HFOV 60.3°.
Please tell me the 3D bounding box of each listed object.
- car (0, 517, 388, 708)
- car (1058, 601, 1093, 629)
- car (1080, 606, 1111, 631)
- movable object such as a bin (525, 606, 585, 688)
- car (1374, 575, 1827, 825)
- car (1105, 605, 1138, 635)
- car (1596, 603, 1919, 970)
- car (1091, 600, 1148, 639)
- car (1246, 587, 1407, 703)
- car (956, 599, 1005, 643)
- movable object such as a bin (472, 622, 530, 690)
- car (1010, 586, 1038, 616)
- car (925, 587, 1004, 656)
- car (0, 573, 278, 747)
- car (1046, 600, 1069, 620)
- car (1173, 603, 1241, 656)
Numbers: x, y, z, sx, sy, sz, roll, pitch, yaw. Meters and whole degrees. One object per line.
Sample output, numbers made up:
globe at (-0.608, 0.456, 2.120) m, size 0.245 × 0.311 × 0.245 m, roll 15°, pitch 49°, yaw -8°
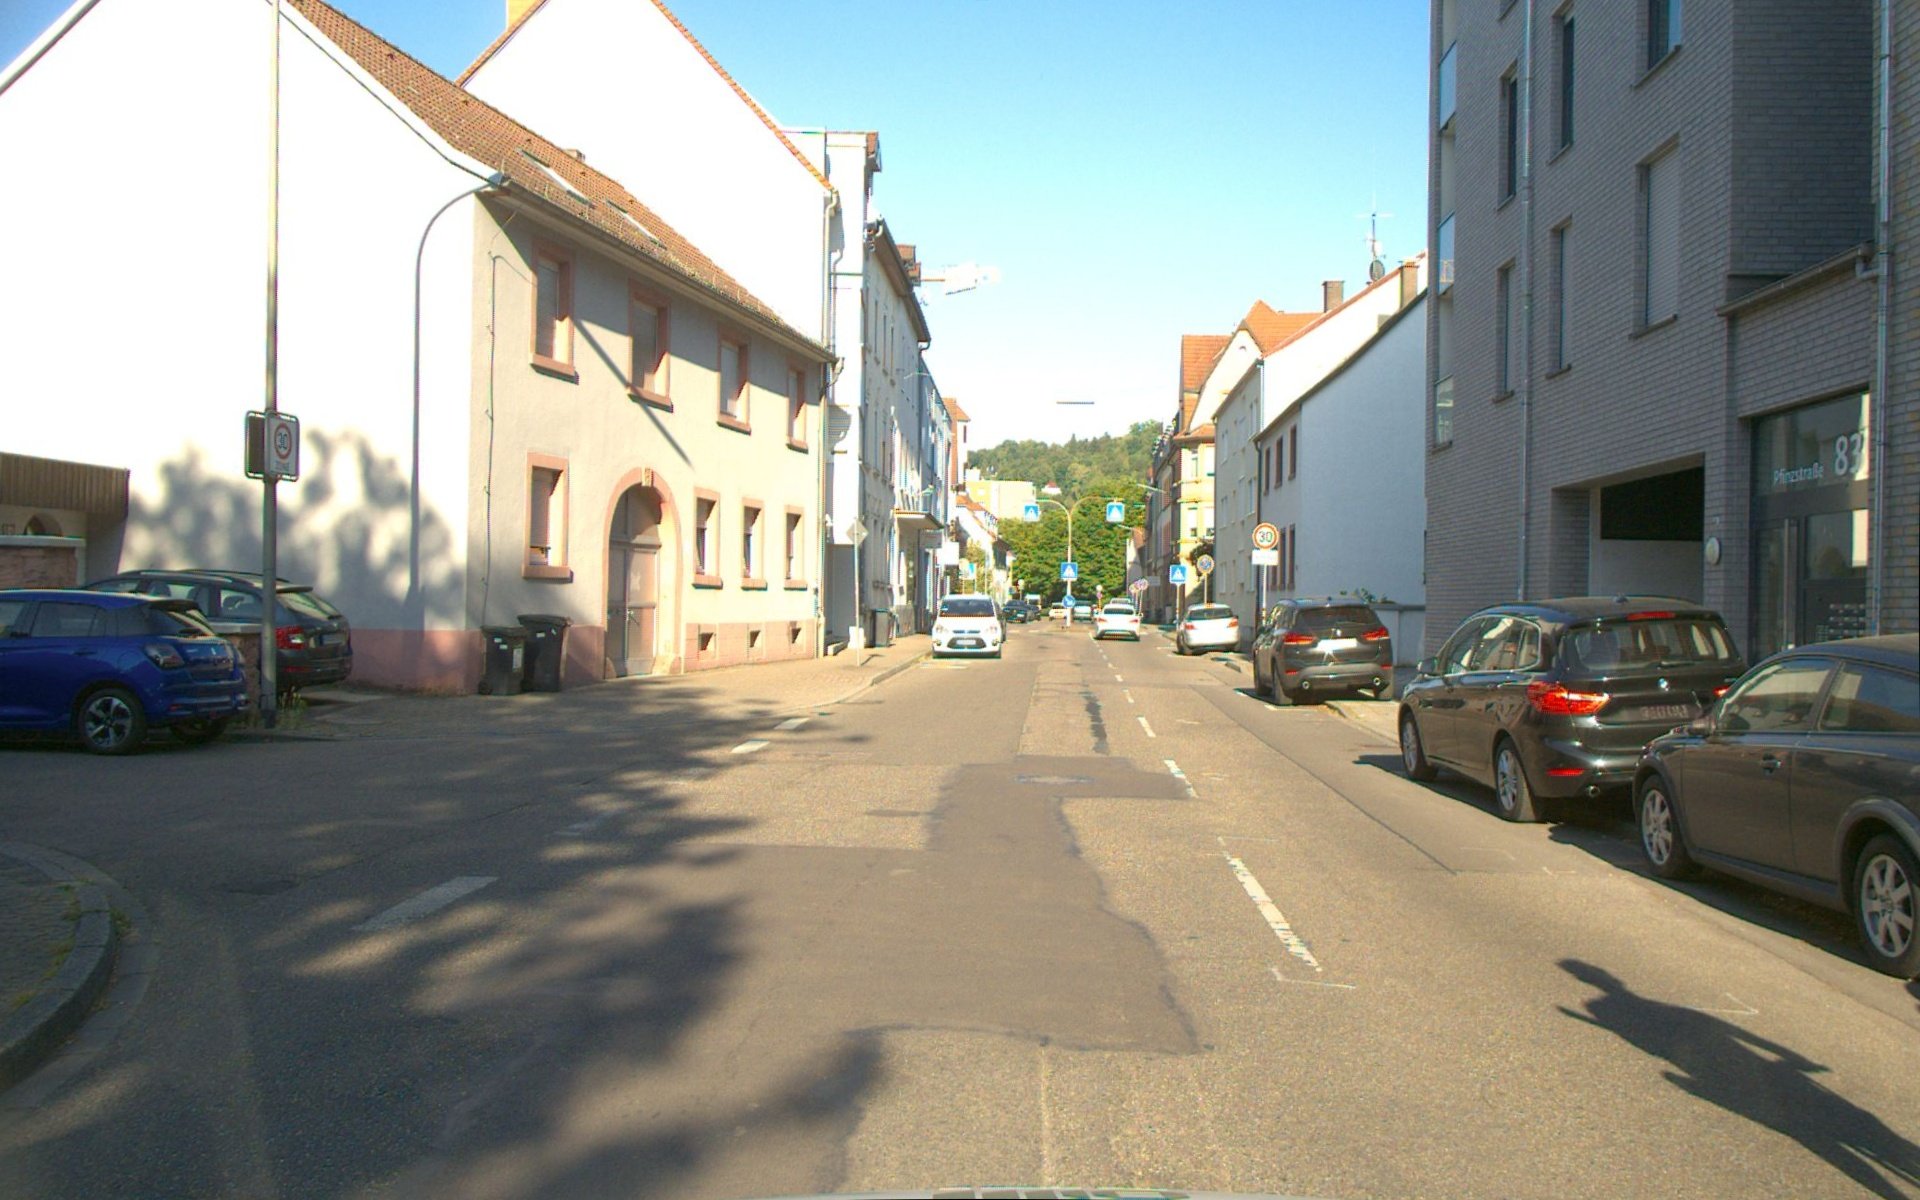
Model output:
car at (-9.391, 0.094, 19.801) m, size 4.273 × 1.825 × 1.989 m, roll 5°, pitch 2°, yaw 4°
car at (8.517, 1.090, 122.352) m, size 1.954 × 2.049 × 3.996 m, roll 1°, pitch 0°, yaw -5°
car at (11.482, 1.556, 140.119) m, size 1.954 × 2.049 × 3.996 m, roll 1°, pitch 0°, yaw -5°
movable object such as a bin at (-5.677, 0.654, 23.216) m, size 0.586 × 1.113 × 0.751 m, roll 2°, pitch -1°, yaw 3°
car at (5.018, 0.674, 13.797) m, size 1.952 × 1.682 × 4.763 m, roll 1°, pitch 0°, yaw 1°
car at (11.156, 1.375, 114.210) m, size 1.969 × 1.885 × 4.001 m, roll 2°, pitch 0°, yaw 2°
car at (5.091, 0.806, 8.677) m, size 1.952 × 1.532 × 4.368 m, roll 1°, pitch 0°, yaw 2°
car at (6.342, 0.780, 66.091) m, size 1.952 × 1.492 × 4.000 m, roll 1°, pitch -1°, yaw 1°
car at (5.795, 0.660, 26.692) m, size 1.816 × 1.665 × 4.625 m, roll -1°, pitch 0°, yaw 4°
car at (0.776, 0.781, 60.948) m, size 1.695 × 1.525 × 3.960 m, roll 1°, pitch -1°, yaw 2°
movable object such as a bin at (-6.207, 0.756, 22.399) m, size 0.586 × 0.887 × 0.606 m, roll 1°, pitch 0°, yaw 1°
car at (4.644, 0.076, 121.044) m, size 1.952 × 2.049 × 4.001 m, roll 2°, pitch 0°, yaw 2°
car at (0.138, 0.551, 44.295) m, size 1.953 × 1.676 × 5.222 m, roll 2°, pitch 0°, yaw 0°
car at (-8.884, 0.528, 16.014) m, size 3.688 × 1.557 × 2.001 m, roll 0°, pitch 0°, yaw 3°
car at (8.944, 0.893, 151.667) m, size 1.770 × 1.731 × 4.191 m, roll -1°, pitch 0°, yaw 0°
car at (7.423, 0.879, 50.037) m, size 1.704 × 1.518 × 4.441 m, roll 0°, pitch 0°, yaw 4°
